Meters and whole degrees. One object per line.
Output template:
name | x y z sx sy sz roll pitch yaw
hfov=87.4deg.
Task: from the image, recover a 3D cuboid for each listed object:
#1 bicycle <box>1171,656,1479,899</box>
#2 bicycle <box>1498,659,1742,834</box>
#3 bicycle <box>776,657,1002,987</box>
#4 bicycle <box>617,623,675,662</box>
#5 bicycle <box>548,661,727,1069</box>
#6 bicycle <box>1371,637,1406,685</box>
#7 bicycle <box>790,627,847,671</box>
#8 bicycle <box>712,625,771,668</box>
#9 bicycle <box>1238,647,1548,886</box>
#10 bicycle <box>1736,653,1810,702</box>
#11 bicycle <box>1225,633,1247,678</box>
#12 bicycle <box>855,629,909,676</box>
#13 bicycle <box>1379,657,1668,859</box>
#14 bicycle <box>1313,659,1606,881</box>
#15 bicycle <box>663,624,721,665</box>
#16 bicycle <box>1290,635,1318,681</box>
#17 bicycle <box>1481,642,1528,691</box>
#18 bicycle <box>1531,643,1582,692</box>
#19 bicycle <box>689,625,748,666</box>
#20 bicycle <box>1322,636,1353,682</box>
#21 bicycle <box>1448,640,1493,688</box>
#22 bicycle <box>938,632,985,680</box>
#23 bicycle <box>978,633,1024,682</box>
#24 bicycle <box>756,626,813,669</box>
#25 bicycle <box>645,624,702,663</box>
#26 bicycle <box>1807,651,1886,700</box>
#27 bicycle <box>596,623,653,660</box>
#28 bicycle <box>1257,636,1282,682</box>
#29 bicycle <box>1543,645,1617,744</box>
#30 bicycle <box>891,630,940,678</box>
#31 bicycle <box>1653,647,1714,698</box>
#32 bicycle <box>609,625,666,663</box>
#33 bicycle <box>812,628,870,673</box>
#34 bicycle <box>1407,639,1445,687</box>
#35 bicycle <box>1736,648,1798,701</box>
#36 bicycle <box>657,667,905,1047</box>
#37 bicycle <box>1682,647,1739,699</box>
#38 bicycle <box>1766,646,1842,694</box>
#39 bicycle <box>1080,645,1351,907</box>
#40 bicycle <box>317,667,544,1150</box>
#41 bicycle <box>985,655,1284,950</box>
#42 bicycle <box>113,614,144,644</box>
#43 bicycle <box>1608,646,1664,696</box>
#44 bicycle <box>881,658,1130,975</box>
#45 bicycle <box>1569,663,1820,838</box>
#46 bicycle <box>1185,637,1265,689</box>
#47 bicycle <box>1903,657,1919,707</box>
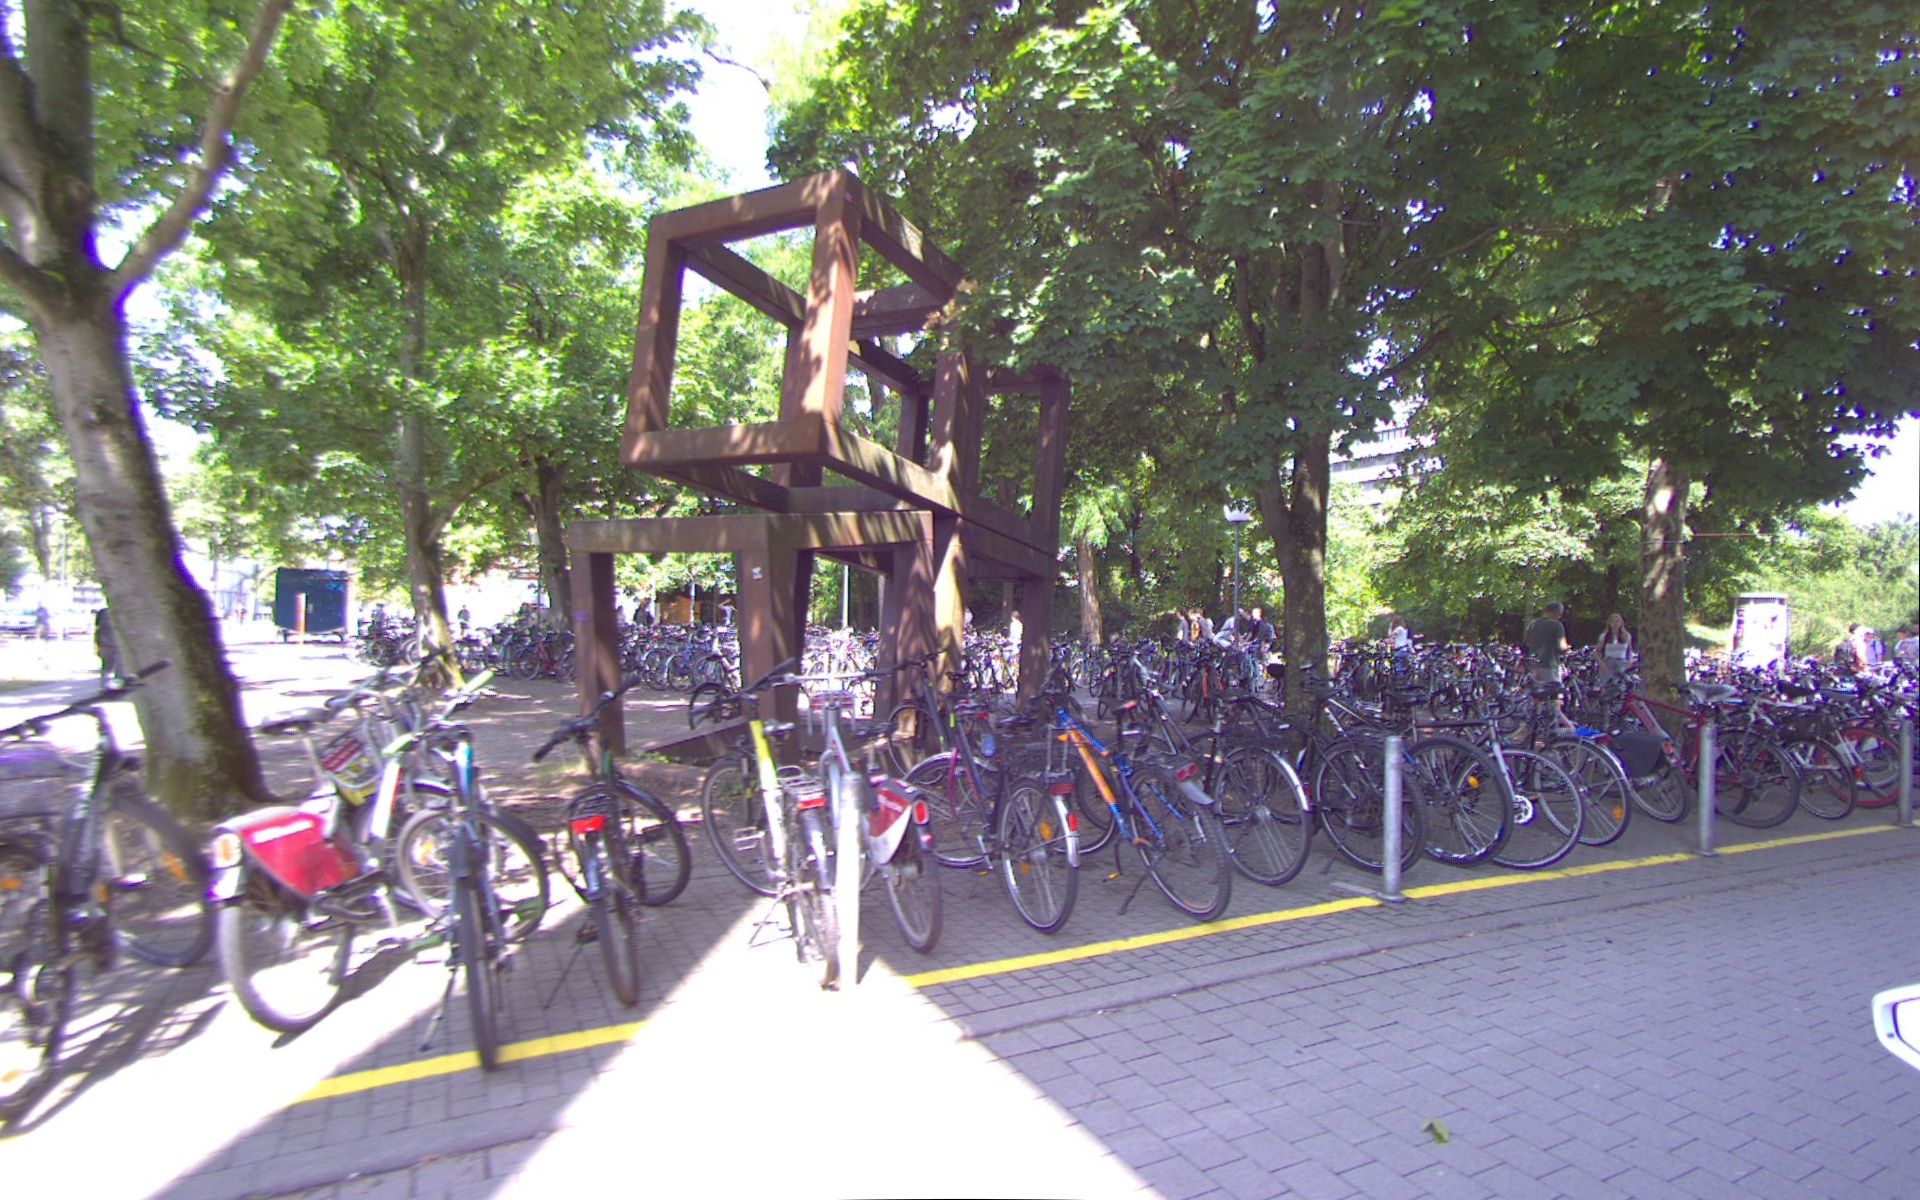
bicycle | 2.055 0.935 5.872 0.638 1.123 1.615 2 -1 -32
bicycle | 5.045 1.069 7.815 0.553 1.123 1.625 2 -1 -14
bicycle | -0.393 0.871 4.544 0.499 1.123 1.621 2 -1 -22
bicycle | -9.319 1.254 29.845 0.466 1.098 1.695 2 -1 33
bicycle | -1.296 0.847 3.852 0.490 1.123 1.621 2 -1 -22
bicycle | 10.992 1.540 25.790 0.507 1.125 1.779 2 -1 14
bicycle | -3.679 1.280 26.246 0.466 1.098 1.695 2 -1 33
bicycle | -5.952 1.261 27.455 0.466 1.098 1.695 2 -1 33
bicycle | 2.585 0.929 6.215 0.491 1.177 1.769 2 -1 -32
bicycle | 20.857 1.967 25.815 0.465 1.125 1.778 2 -1 1
bicycle | 7.410 1.475 26.993 0.507 1.125 1.779 2 -1 14
bicycle | -1.918 1.290 25.006 0.465 1.098 1.697 2 -1 28
bicycle | 3.809 1.013 6.972 0.707 1.123 1.721 2 -1 -17
bicycle | 3.071 0.983 6.336 0.491 1.123 1.615 2 -1 -32
bicycle | -7.612 1.257 28.632 0.466 1.098 1.695 2 -1 33
bicycle | 9.142 1.526 26.751 0.507 1.125 1.779 2 -1 14
bicycle | 13.709 1.646 25.336 0.507 1.125 1.779 2 -1 11
bicycle | 14.719 1.646 24.820 0.464 1.125 1.779 2 -1 11
bicycle | -6.720 1.261 28.027 0.466 1.098 1.695 2 -1 33
bicycle | 9.908 1.520 26.389 0.507 1.125 1.779 2 -1 14
bicycle | 12.850 1.593 25.340 0.507 1.125 1.779 2 -1 11
bicycle | 0.058 1.312 23.931 0.465 1.098 1.699 2 -1 23
bicycle | 0.976 1.325 23.582 0.465 1.098 1.699 2 -1 23
bicycle | -4.686 1.276 26.943 0.466 1.098 1.695 2 -1 33
bicycle | -8.352 1.263 29.351 0.466 1.098 1.695 2 -1 33
bicycle | 22.760 1.916 25.831 0.465 1.125 1.778 2 -1 1
bicycle | -10.175 1.255 30.523 0.466 1.098 1.695 2 -1 33
bicycle | 8.250 1.556 26.838 0.507 1.125 1.779 2 -1 14
bicycle | 8.466 1.255 13.763 0.565 1.215 1.699 2 -1 22
bicycle | -1.064 1.293 24.479 0.465 1.098 1.699 2 -1 23
bicycle | 17.523 1.732 24.360 0.464 1.125 1.779 2 -1 11
bicycle | -9.689 1.312 30.200 0.466 1.098 1.695 2 -1 33
bicycle | -3.001 1.268 25.458 0.466 1.098 1.695 2 -1 33
bicycle | 11.840 1.592 25.549 0.507 1.125 1.779 2 -1 14
bicycle | 19.027 1.740 23.718 0.464 1.125 1.779 2 -1 16
bicycle | -0.809 0.892 4.120 0.620 1.123 1.620 2 -1 -23
bicycle | 18.030 1.729 24.153 0.464 1.125 1.779 2 -1 16
bicycle | 21.729 1.775 25.891 0.465 1.125 1.778 2 -1 1
bicycle | 1.344 0.876 5.599 0.491 1.166 1.618 2 -1 -27
bicycle | -1.699 0.846 3.405 0.490 1.123 1.621 2 -1 -22
bicycle | 0.778 0.885 5.005 0.681 1.123 1.621 2 -1 -23
bicycle | -32.082 1.094 38.764 0.663 1.123 2.053 1 -1 -33
bicycle | 16.690 1.725 24.831 0.464 1.125 1.779 2 -1 11
bicycle | 0.134 0.883 4.700 0.490 1.123 1.621 2 -1 -22
bicycle | 5.634 1.102 7.825 0.488 1.123 1.625 2 -1 -14
bicycle | 6.067 1.429 23.000 1.666 1.098 0.604 2 0 22
bicycle | 21.509 1.816 21.523 1.882 1.061 0.539 2 -2 44
